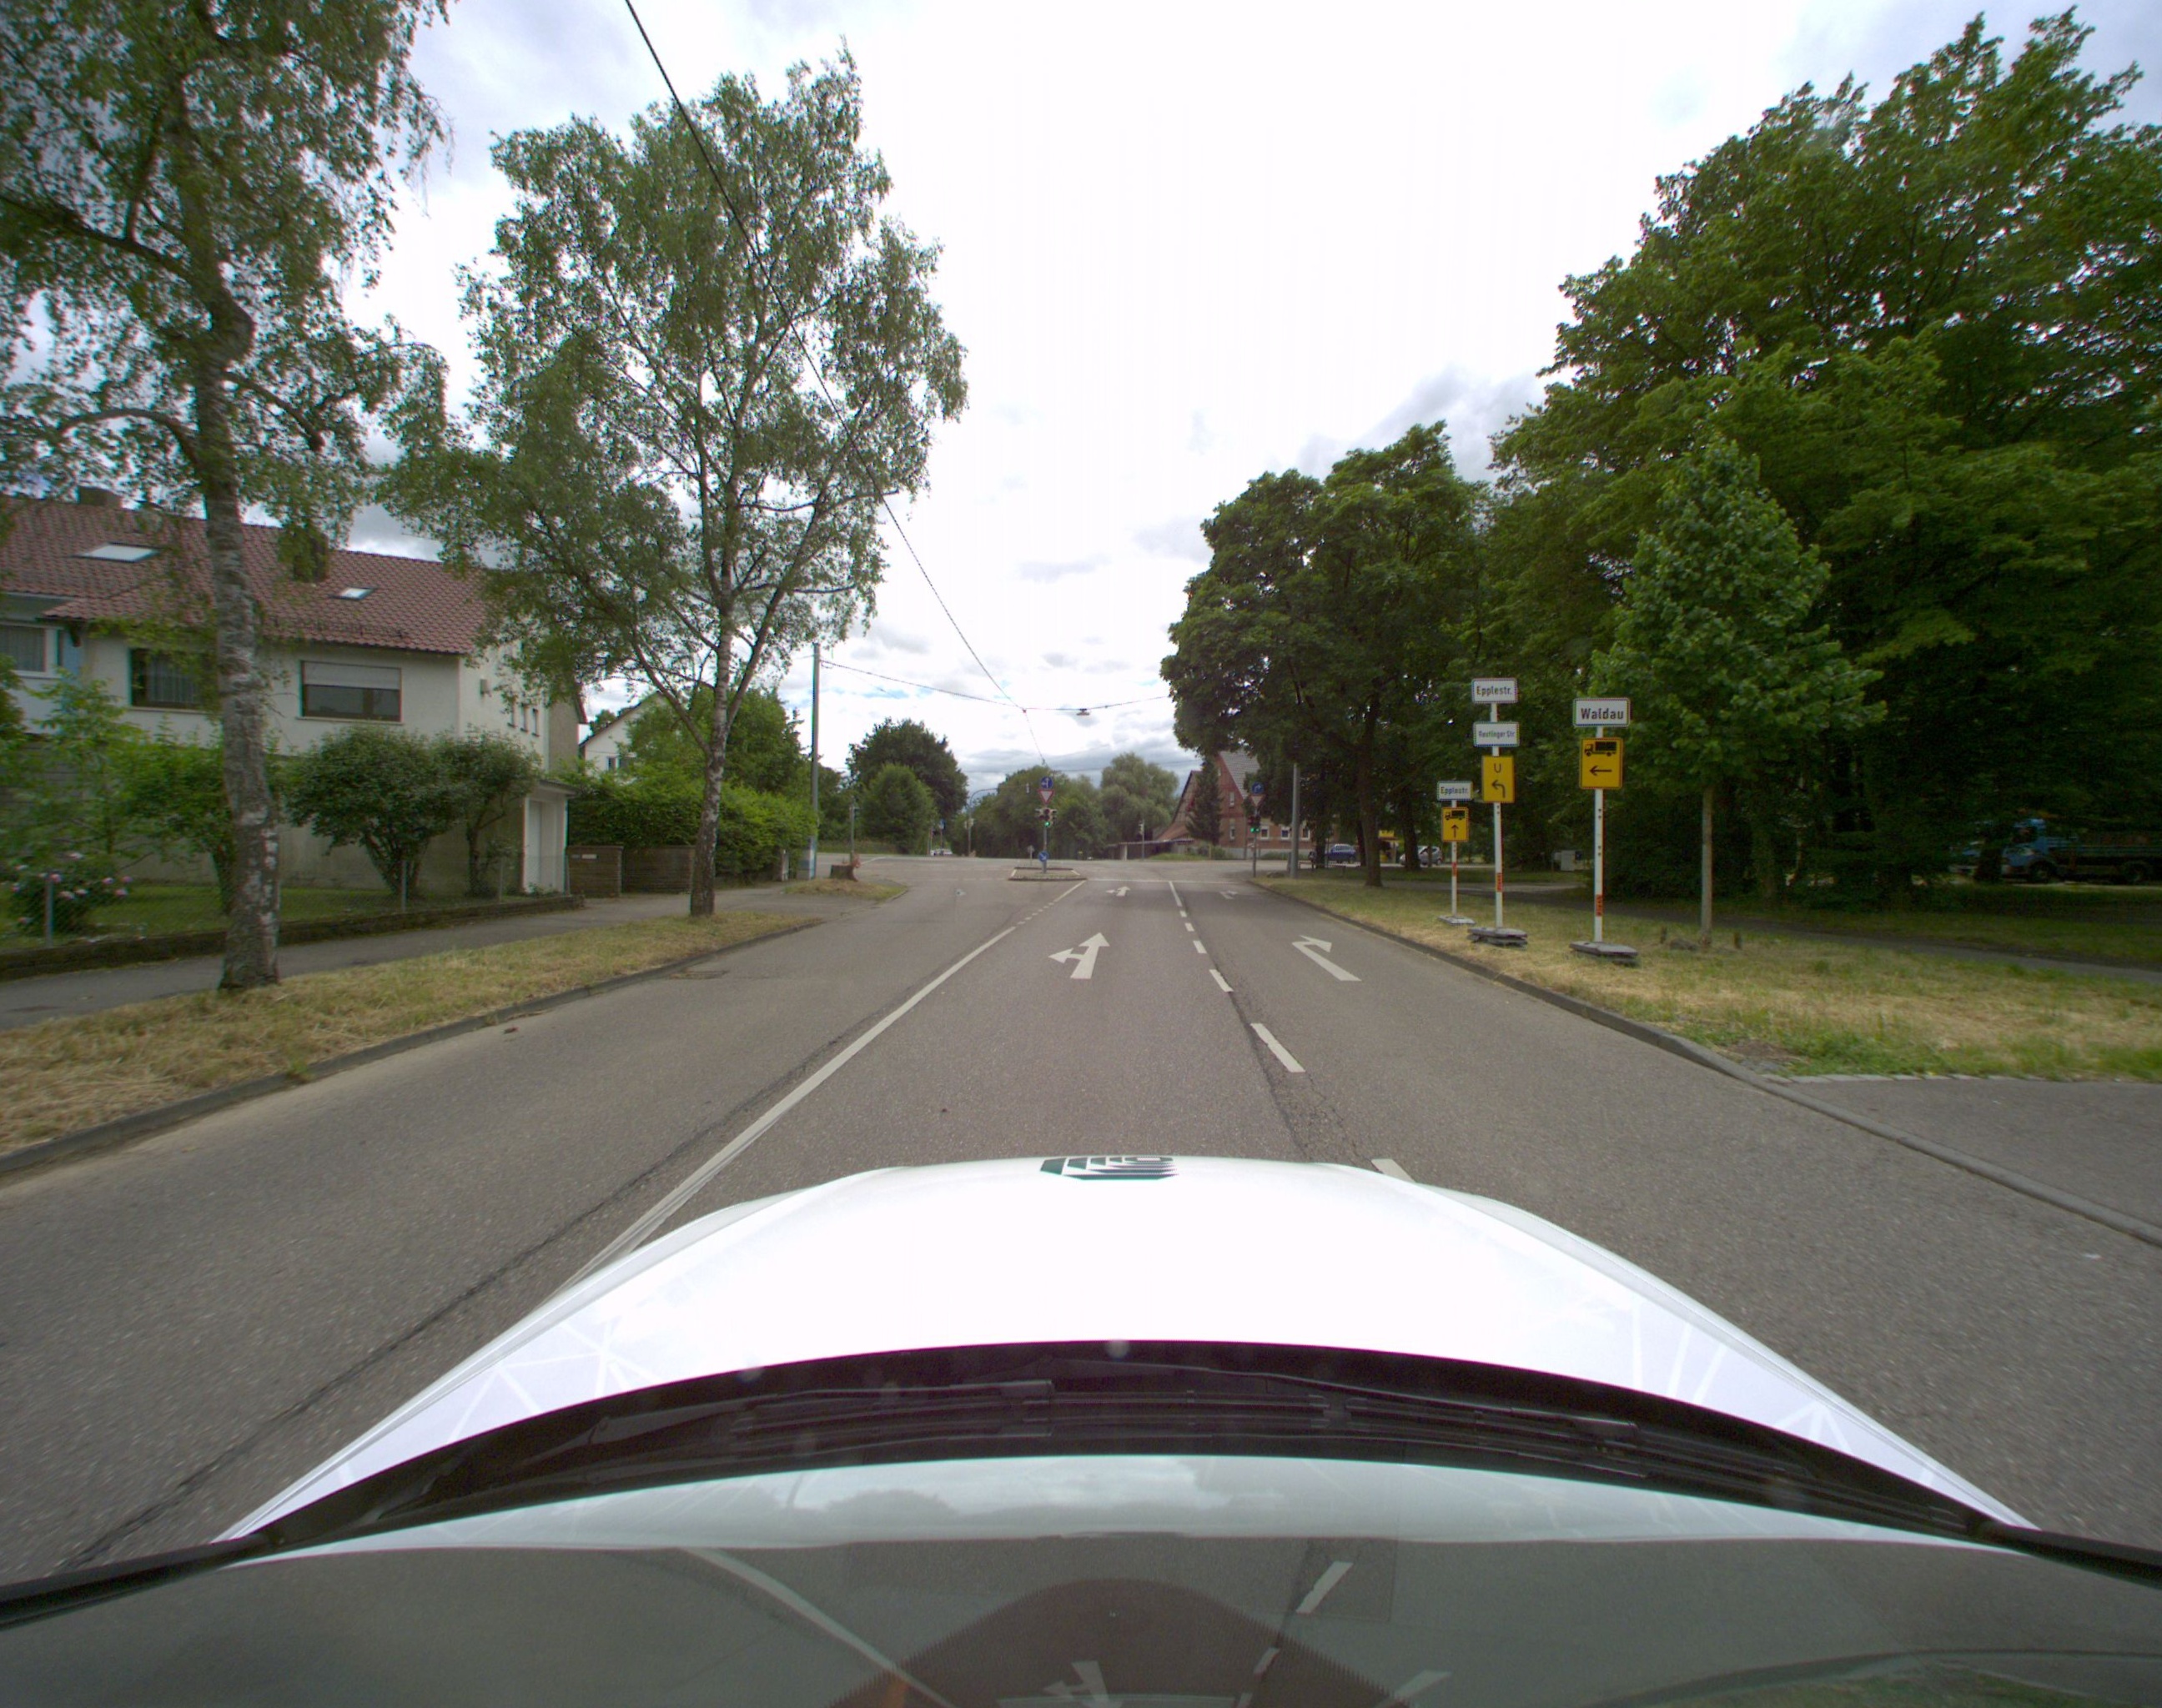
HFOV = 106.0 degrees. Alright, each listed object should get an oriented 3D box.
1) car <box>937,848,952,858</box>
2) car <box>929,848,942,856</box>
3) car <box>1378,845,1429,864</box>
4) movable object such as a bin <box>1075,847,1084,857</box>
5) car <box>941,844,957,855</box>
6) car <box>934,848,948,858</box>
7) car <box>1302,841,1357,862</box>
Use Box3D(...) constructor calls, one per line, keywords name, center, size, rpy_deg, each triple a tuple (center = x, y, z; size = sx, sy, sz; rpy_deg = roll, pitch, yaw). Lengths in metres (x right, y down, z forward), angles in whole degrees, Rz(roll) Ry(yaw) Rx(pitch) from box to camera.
Box3D(name="car", center=(-19.797, -0.172, 117.710), size=(1.797, 1.409, 3.981), rpy_deg=(0, 1, -14))
Box3D(name="car", center=(-24.069, -0.327, 134.918), size=(1.797, 1.409, 3.981), rpy_deg=(0, 1, -14))
Box3D(name="car", center=(26.078, 0.009, 65.917), size=(3.474, 1.531, 1.986), rpy_deg=(0, 0, -21))
Box3D(name="movable object such as a bin", center=(-0.151, -0.174, 81.314), size=(0.635, 1.001, 0.579), rpy_deg=(1, -1, -23))
Box3D(name="car", center=(-17.746, -0.637, 109.708), size=(1.797, 1.512, 3.981), rpy_deg=(0, 1, -14))
Box3D(name="car", center=(-21.093, -0.189, 122.924), size=(1.797, 1.409, 3.981), rpy_deg=(0, 1, -14))
Box3D(name="car", center=(20.372, -0.194, 66.794), size=(3.852, 1.647, 1.990), rpy_deg=(0, 0, -16))
